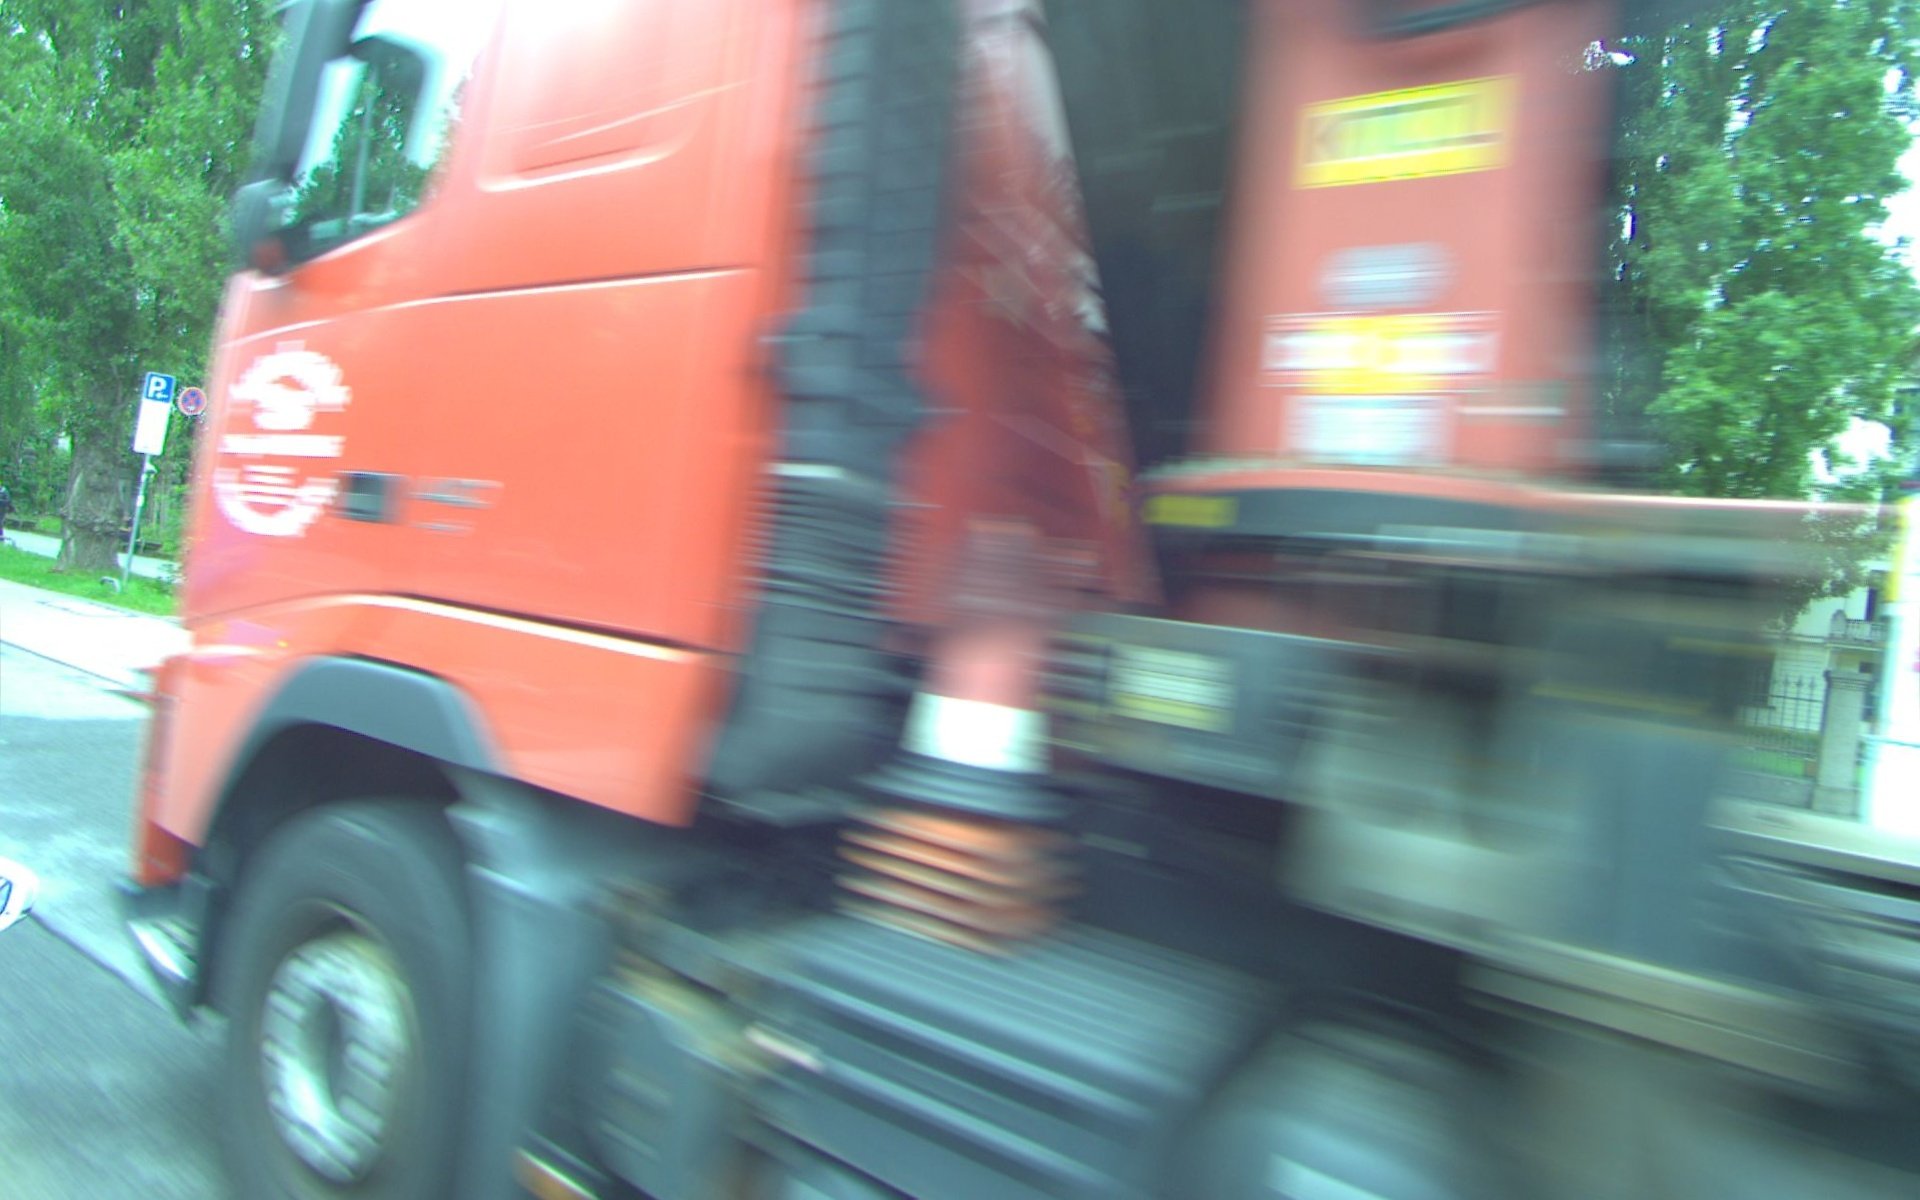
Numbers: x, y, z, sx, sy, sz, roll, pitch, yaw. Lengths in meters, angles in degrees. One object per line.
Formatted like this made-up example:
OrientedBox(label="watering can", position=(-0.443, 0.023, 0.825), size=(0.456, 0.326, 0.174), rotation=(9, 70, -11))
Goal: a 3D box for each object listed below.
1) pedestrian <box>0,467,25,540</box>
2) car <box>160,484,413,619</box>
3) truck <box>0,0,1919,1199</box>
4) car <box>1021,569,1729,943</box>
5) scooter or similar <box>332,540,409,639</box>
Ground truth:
OrientedBox(label="pedestrian", position=(-25.631, -2.598, 26.762), size=(0.771, 1.862, 0.656), rotation=(7, 0, 18))
OrientedBox(label="car", position=(-12.814, -0.954, 19.057), size=(4.999, 1.970, 1.996), rotation=(7, -1, 32))
OrientedBox(label="truck", position=(2.476, 0.268, 1.251), size=(10.254, 3.148, 2.717), rotation=(7, 0, 32))
OrientedBox(label="car", position=(3.180, 1.058, 8.441), size=(4.802, 1.967, 1.885), rotation=(7, -2, 30))
OrientedBox(label="scooter or similar", position=(-8.410, -0.153, 14.336), size=(1.166, 1.281, 0.337), rotation=(7, 0, 32))
